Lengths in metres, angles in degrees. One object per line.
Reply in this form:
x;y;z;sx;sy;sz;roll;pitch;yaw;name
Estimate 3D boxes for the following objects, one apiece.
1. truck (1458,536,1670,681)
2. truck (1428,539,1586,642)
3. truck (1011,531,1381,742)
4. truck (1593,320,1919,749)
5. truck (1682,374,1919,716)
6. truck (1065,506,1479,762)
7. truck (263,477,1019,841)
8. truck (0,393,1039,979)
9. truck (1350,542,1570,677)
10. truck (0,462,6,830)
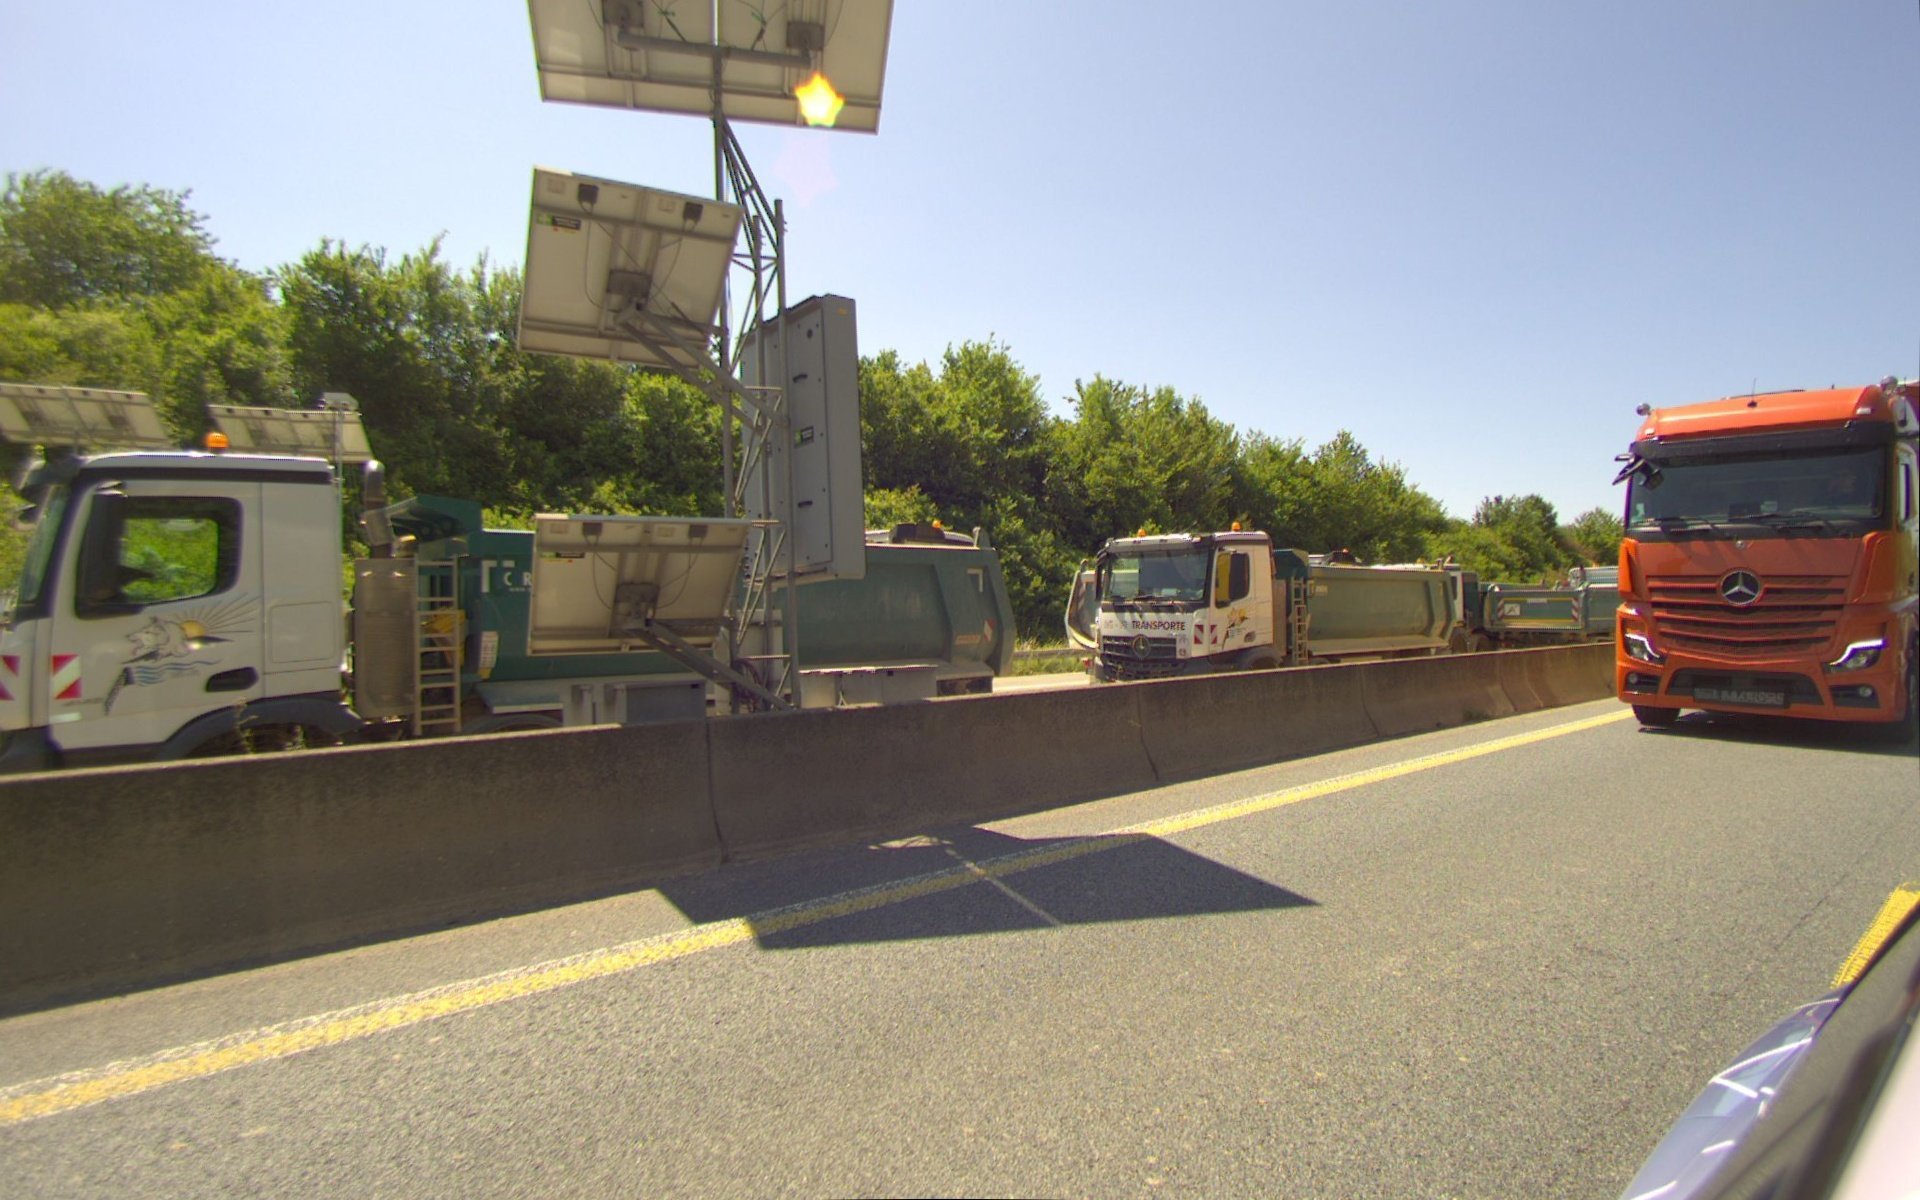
17.711;0.193;29.297;9.436;3.602;2.542;0;0;-42;truck
21.146;-0.340;38.880;8.235;3.556;2.691;0;0;-42;truck
5.380;0.612;21.425;9.436;3.602;2.691;0;0;-42;truck
10.698;-0.657;12.751;6.606;4.061;2.687;-1;0;-40;truck
15.673;-0.718;17.021;12.987;4.061;2.687;-1;0;-41;truck
6.110;0.467;18.429;9.436;3.602;2.691;0;0;-41;truck
-3.536;0.538;13.633;9.433;3.421;2.692;0;0;-41;truck
-3.417;0.513;10.152;9.241;3.602;2.692;0;0;-41;truck
15.587;0.245;31.097;9.436;3.602;2.691;0;0;-41;truck
-12.350;0.473;6.162;9.439;3.421;2.690;0;0;-43;truck
